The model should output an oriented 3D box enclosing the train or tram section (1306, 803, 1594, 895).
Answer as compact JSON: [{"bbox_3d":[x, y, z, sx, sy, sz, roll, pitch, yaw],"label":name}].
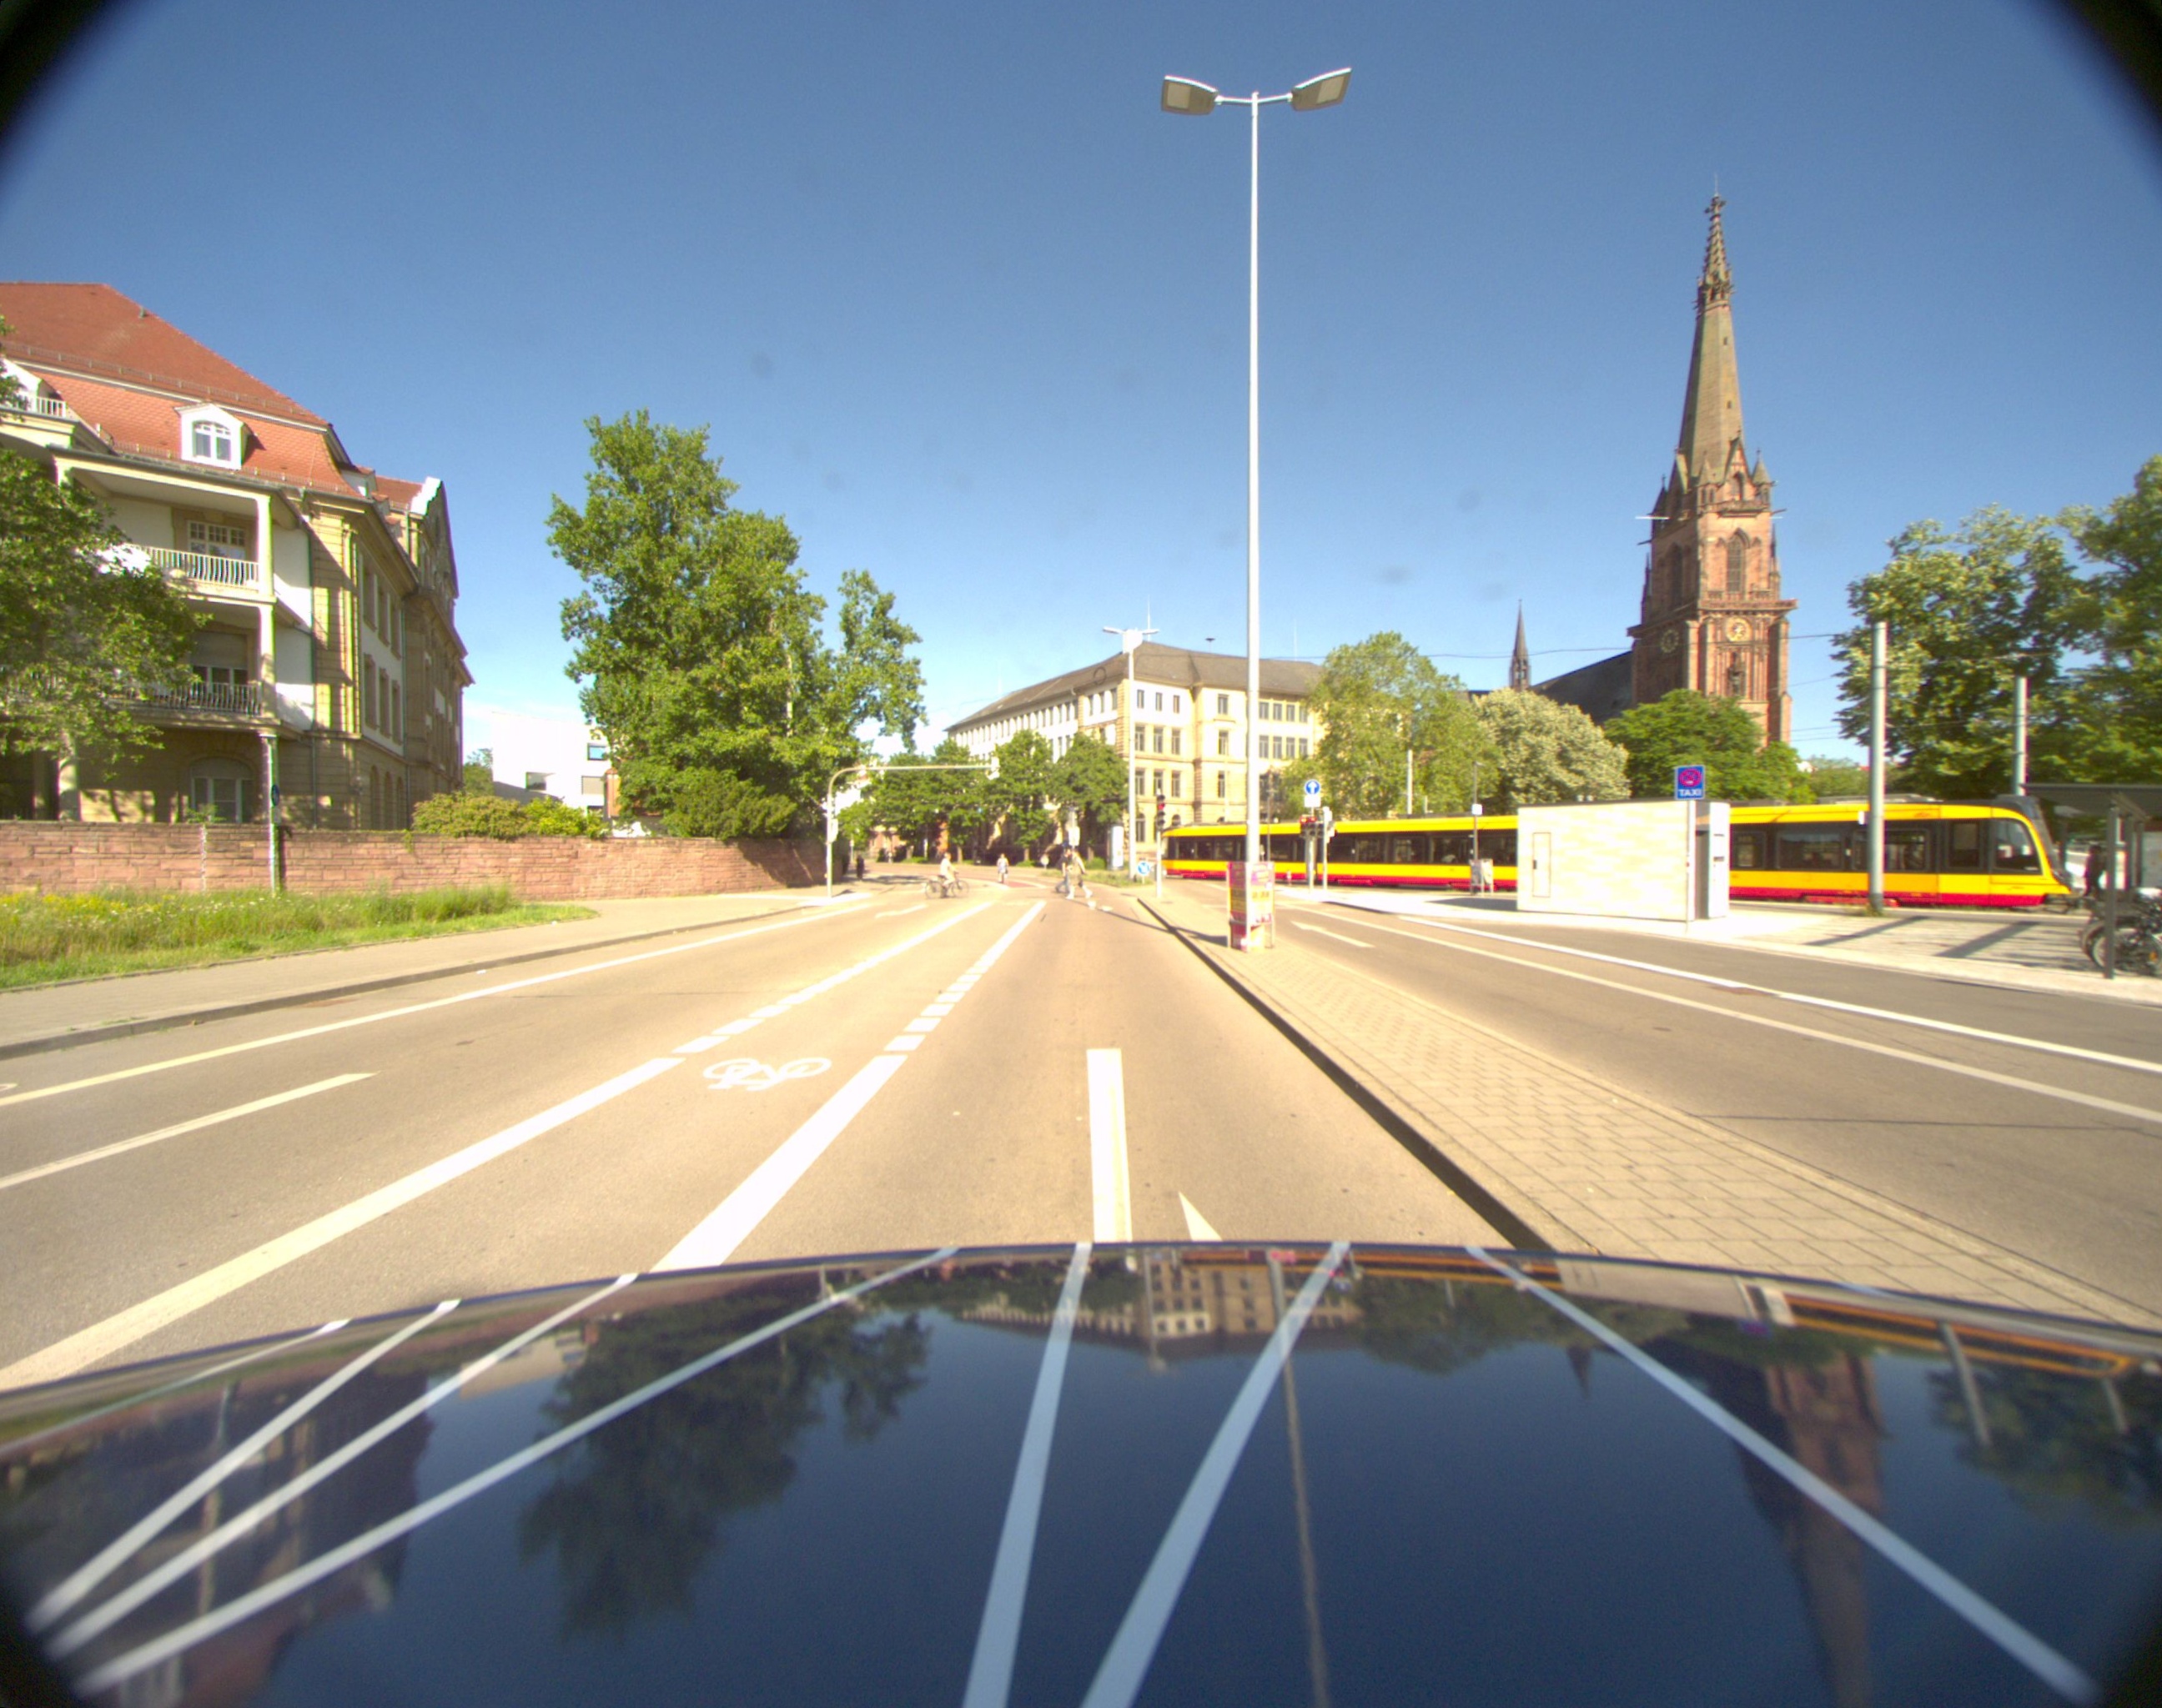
[{"bbox_3d":[16.437,-0.225,35.510,2.806,3.580,12.294,-1,1,-35],"label":"train or tram section"}]

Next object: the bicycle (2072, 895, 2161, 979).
[{"bbox_3d":[14.672,1.123,10.058,0.630,1.059,1.826,-1,1,-32],"label":"bicycle"}]

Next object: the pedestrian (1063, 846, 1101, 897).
[{"bbox_3d":[0.035,0.642,27.997,1.230,1.845,0.826,0,1,-15],"label":"pedestrian"}]

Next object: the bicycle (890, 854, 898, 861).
[{"bbox_3d":[-25.733,0.471,104.725,0.602,1.000,1.983,-3,1,-28],"label":"bicycle"}]

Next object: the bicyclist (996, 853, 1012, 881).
[{"bbox_3d":[-4.466,0.736,43.949,0.870,1.551,1.279,0,1,-8],"label":"bicyclist"}]

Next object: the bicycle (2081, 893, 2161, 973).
[{"bbox_3d":[15.142,1.109,10.323,0.574,1.045,1.826,-1,1,-32],"label":"bicycle"}]

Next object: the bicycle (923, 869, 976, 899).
[{"bbox_3d":[-5.086,1.155,29.394,1.886,1.064,0.723,-2,1,-18],"label":"bicycle"}]

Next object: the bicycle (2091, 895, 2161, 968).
[{"bbox_3d":[16.180,1.154,10.995,0.630,1.002,1.826,-1,1,-32],"label":"bicycle"}]

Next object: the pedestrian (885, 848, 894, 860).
[{"bbox_3d":[-28.772,-0.012,114.189,0.978,1.802,0.758,0,1,23],"label":"pedestrian"}]

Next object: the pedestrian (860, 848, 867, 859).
[{"bbox_3d":[-35.603,-0.069,124.506,0.759,1.802,0.978,-1,1,-38],"label":"pedestrian"}]

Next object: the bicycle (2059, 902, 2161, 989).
[{"bbox_3d":[13.936,1.200,9.588,0.702,1.002,1.863,-1,2,-32],"label":"bicycle"}]

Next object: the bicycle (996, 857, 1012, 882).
[{"bbox_3d":[-4.470,0.883,44.011,0.762,1.360,2.736,0,1,-8],"label":"bicycle"}]

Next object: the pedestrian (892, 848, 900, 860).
[{"bbox_3d":[-26.925,-0.033,110.383,0.759,1.802,0.977,-1,1,-40],"label":"pedestrian"}]

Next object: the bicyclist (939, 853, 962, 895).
[{"bbox_3d":[-5.060,0.773,29.405,0.778,1.596,0.721,-1,1,-18],"label":"bicyclist"}]

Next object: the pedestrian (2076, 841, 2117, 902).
[{"bbox_3d":[30.931,0.516,23.153,0.606,1.845,0.679,-1,1,-42],"label":"pedestrian"}]

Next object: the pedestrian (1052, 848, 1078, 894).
[{"bbox_3d":[-0.659,0.704,31.317,0.960,1.839,0.731,1,1,4],"label":"pedestrian"}]

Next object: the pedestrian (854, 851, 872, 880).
[{"bbox_3d":[-13.344,0.700,46.492,0.940,1.711,0.994,0,1,-12],"label":"pedestrian"}]

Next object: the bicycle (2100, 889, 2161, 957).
[{"bbox_3d":[17.167,1.092,11.620,0.630,1.002,1.826,-1,1,-32],"label":"bicycle"}]

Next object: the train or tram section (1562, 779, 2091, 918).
[{"bbox_3d":[23.486,-0.171,25.440,2.838,3.580,12.294,-1,1,-35],"label":"train or tram section"}]

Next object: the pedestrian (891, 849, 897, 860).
[{"bbox_3d":[-25.760,0.059,104.729,0.597,1.394,0.644,-3,2,-28],"label":"pedestrian"}]

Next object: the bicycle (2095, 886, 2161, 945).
[{"bbox_3d":[19.527,1.116,13.452,0.630,1.002,1.826,-1,1,-32],"label":"bicycle"}]

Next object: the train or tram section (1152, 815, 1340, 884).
[{"bbox_3d":[9.383,-0.277,45.718,2.806,3.580,12.504,-1,1,-35],"label":"train or tram section"}]

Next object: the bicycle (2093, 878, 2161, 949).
[{"bbox_3d":[18.948,1.040,13.044,0.630,1.173,1.826,-1,1,-32],"label":"bicycle"}]

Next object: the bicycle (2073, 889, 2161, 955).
[{"bbox_3d":[17.814,1.130,12.456,0.630,1.002,1.826,-1,1,-32],"label":"bicycle"}]
